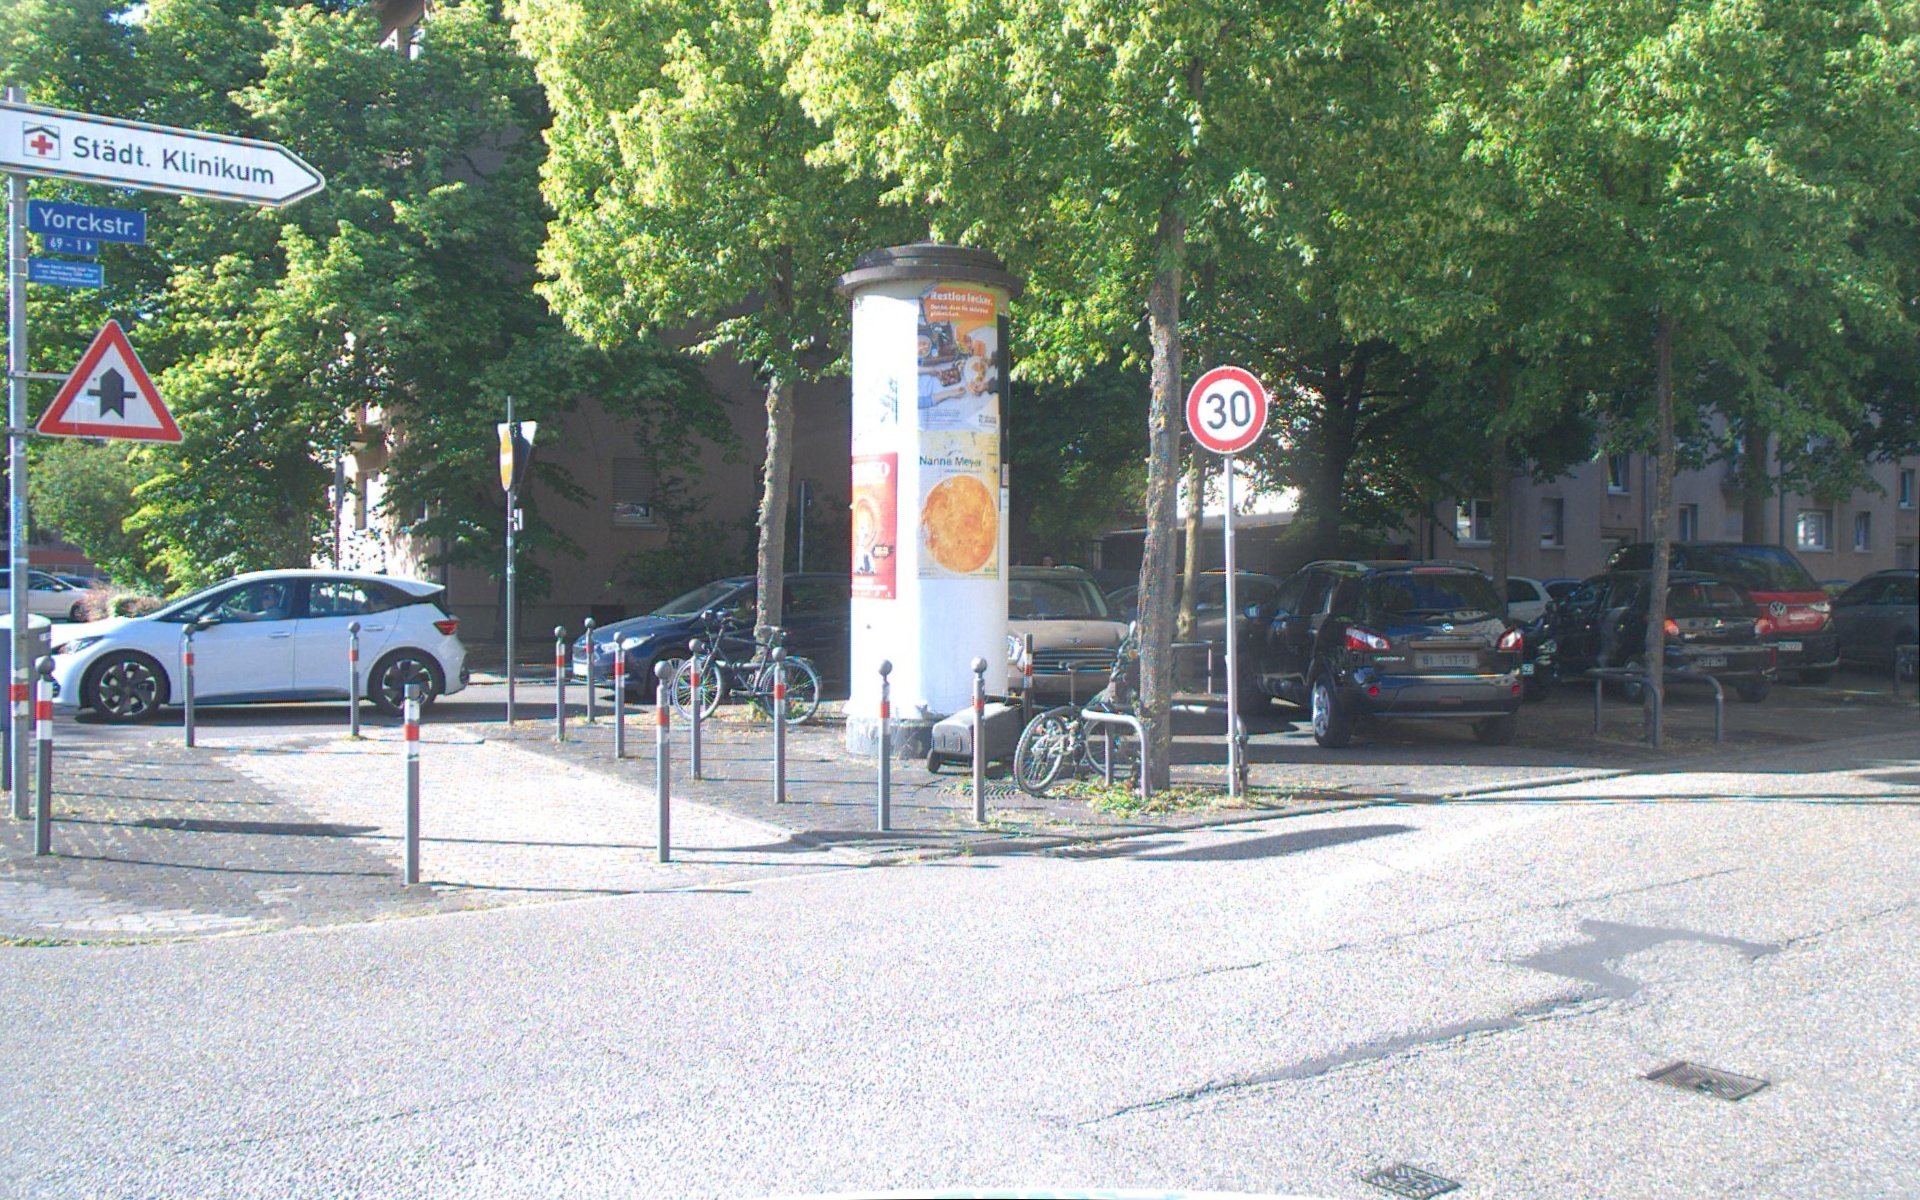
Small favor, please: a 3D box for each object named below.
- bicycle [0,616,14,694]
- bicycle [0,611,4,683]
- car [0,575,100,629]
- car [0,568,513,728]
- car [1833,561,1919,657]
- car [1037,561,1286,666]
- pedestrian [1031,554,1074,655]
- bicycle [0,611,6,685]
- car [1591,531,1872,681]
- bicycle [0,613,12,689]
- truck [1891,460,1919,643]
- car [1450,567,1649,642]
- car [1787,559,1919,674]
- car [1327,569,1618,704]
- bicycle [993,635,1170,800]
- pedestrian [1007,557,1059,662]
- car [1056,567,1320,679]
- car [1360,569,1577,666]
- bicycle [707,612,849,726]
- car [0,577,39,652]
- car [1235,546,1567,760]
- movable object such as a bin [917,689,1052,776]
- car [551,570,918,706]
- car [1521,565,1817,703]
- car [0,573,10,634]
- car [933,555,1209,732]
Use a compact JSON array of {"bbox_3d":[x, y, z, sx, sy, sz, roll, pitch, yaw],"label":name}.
[{"bbox_3d":[-13.845,0.773,22.083,2.018,1.049,0.562,-2,1,-43],"label":"bicycle"},{"bbox_3d":[-14.811,0.711,23.555,2.018,1.049,0.441,-2,1,-43],"label":"bicycle"},{"bbox_3d":[-26.999,0.050,48.063,3.541,1.507,1.606,-1,1,-29],"label":"car"},{"bbox_3d":[-7.593,0.432,18.063,4.963,1.545,1.906,-1,1,-28],"label":"car"},{"bbox_3d":[16.195,0.129,26.855,1.770,1.533,4.344,0,1,0],"label":"car"},{"bbox_3d":[3.484,0.175,28.252,4.199,1.668,1.737,-1,1,-36],"label":"car"},{"bbox_3d":[1.622,0.076,29.088,0.725,1.766,0.540,0,1,-1],"label":"pedestrian"},{"bbox_3d":[-14.550,0.713,23.134,2.018,1.049,0.461,-2,1,-43],"label":"bicycle"},{"bbox_3d":[10.746,0.036,23.449,1.890,1.906,4.503,0,1,0],"label":"car"},{"bbox_3d":[-14.216,0.737,22.688,2.018,1.049,0.562,-2,1,-43],"label":"bicycle"},{"bbox_3d":[18.878,-0.867,27.464,2.488,3.351,7.322,-1,1,-2],"label":"truck"},{"bbox_3d":[12.363,0.055,34.619,4.291,1.460,1.749,-1,1,-34],"label":"car"},{"bbox_3d":[13.724,0.189,23.537,1.770,1.533,4.344,0,1,0],"label":"car"},{"bbox_3d":[6.008,0.354,19.888,1.782,1.447,3.941,0,1,-9],"label":"car"},{"bbox_3d":[0.913,0.828,12.134,0.348,1.091,1.581,0,1,45],"label":"bicycle"},{"bbox_3d":[1.247,0.145,28.287,0.534,1.766,0.732,-1,1,-38],"label":"pedestrian"},{"bbox_3d":[3.406,0.278,24.318,3.914,1.512,1.734,-1,1,-41],"label":"car"},{"bbox_3d":[8.635,0.242,27.935,3.914,1.512,1.734,-1,1,-41],"label":"car"},{"bbox_3d":[-1.846,0.685,16.981,0.348,1.091,1.581,0,1,45],"label":"bicycle"},{"bbox_3d":[-20.277,0.306,32.714,1.586,1.507,3.250,0,1,31],"label":"car"},{"bbox_3d":[4.030,0.367,15.917,1.795,1.700,4.335,0,3,-4],"label":"car"},{"bbox_3d":[0.210,1.048,13.286,0.566,0.575,1.110,0,1,35],"label":"movable object such as a bin"},{"bbox_3d":[-2.811,0.404,20.954,4.248,1.545,1.887,-1,1,-34],"label":"car"},{"bbox_3d":[8.452,0.338,20.093,1.721,1.506,3.820,0,1,-5],"label":"car"},{"bbox_3d":[-25.455,0.115,40.423,1.586,1.507,3.585,0,1,31],"label":"car"},{"bbox_3d":[1.031,0.384,17.540,1.883,1.639,3.987,-1,1,-12],"label":"car"}]
